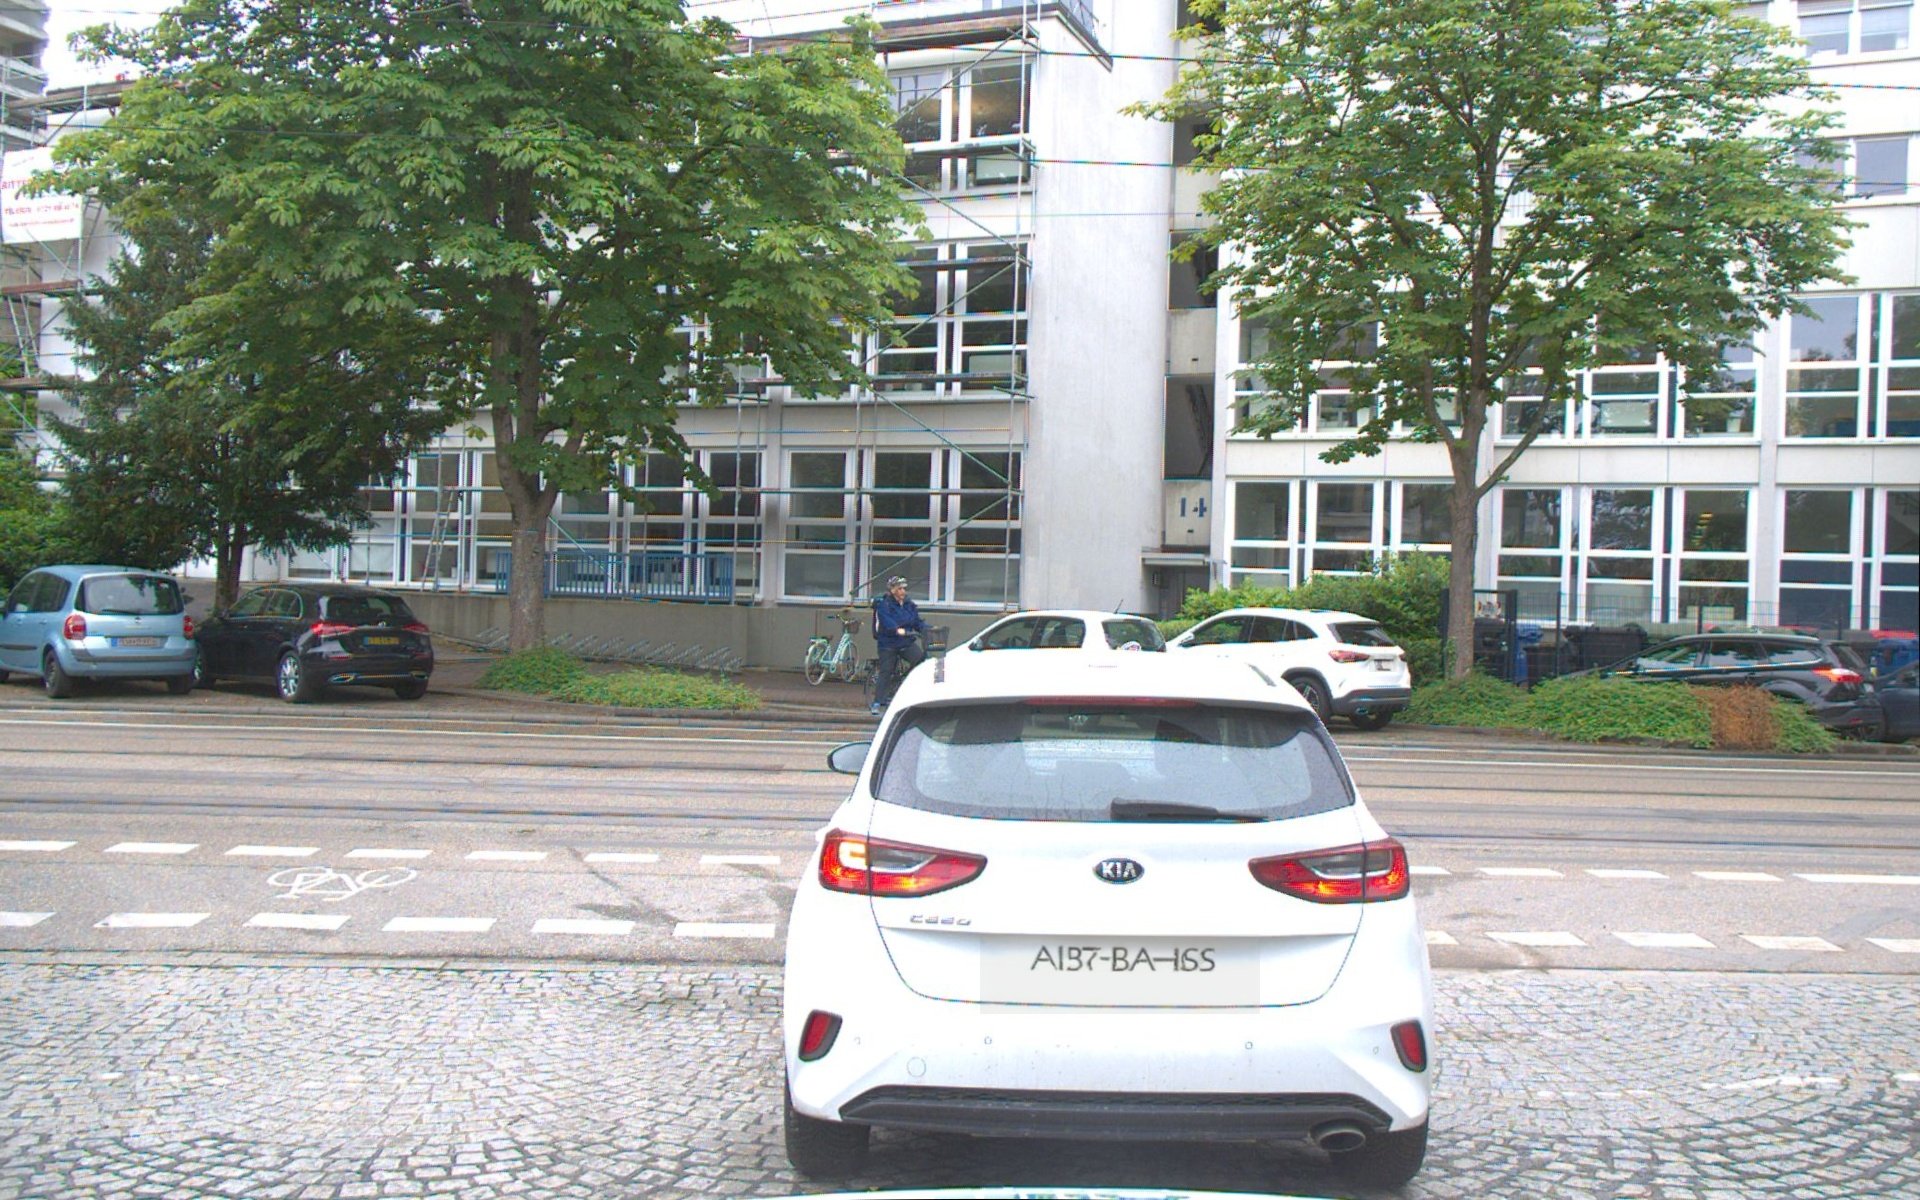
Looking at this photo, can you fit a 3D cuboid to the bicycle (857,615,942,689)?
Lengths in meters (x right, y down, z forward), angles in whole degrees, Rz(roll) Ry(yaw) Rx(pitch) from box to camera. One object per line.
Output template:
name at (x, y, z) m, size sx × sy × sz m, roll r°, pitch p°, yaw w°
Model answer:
bicycle at (-1.008, 0.858, 28.120) m, size 0.631 × 1.093 × 2.313 m, roll 2°, pitch 2°, yaw 19°

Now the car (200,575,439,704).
car at (-8.338, 0.466, 21.441) m, size 3.279 × 1.537 × 1.608 m, roll 1°, pitch 0°, yaw 43°

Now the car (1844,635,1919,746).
car at (14.299, 1.284, 22.957) m, size 3.331 × 1.499 × 1.407 m, roll 1°, pitch 0°, yaw 43°

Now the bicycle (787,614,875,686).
bicycle at (-2.193, 0.840, 28.535) m, size 0.631 × 1.093 × 2.313 m, roll 2°, pitch 2°, yaw 19°

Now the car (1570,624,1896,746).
car at (10.820, 1.131, 23.276) m, size 3.881 × 1.499 × 1.665 m, roll 1°, pitch 0°, yaw 40°

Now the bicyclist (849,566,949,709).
bicyclist at (-0.763, 0.454, 20.659) m, size 0.882 × 1.727 × 0.828 m, roll 1°, pitch 0°, yaw 44°

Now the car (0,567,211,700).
car at (-11.182, 0.389, 21.335) m, size 3.279 × 1.564 × 1.608 m, roll 1°, pitch 0°, yaw 43°

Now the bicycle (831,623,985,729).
bicycle at (-0.659, 0.914, 20.537) m, size 1.883 × 1.194 × 0.816 m, roll 2°, pitch 0°, yaw 44°

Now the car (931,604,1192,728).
car at (1.320, 0.830, 22.253) m, size 1.545 × 1.499 × 3.352 m, roll 1°, pitch 0°, yaw -44°

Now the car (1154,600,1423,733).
car at (4.461, 0.852, 22.701) m, size 1.545 × 1.646 × 3.352 m, roll 1°, pitch 0°, yaw -44°

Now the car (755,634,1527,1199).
car at (0.490, 0.864, 5.747) m, size 1.738 × 1.458 × 3.979 m, roll 1°, pitch -1°, yaw 2°
